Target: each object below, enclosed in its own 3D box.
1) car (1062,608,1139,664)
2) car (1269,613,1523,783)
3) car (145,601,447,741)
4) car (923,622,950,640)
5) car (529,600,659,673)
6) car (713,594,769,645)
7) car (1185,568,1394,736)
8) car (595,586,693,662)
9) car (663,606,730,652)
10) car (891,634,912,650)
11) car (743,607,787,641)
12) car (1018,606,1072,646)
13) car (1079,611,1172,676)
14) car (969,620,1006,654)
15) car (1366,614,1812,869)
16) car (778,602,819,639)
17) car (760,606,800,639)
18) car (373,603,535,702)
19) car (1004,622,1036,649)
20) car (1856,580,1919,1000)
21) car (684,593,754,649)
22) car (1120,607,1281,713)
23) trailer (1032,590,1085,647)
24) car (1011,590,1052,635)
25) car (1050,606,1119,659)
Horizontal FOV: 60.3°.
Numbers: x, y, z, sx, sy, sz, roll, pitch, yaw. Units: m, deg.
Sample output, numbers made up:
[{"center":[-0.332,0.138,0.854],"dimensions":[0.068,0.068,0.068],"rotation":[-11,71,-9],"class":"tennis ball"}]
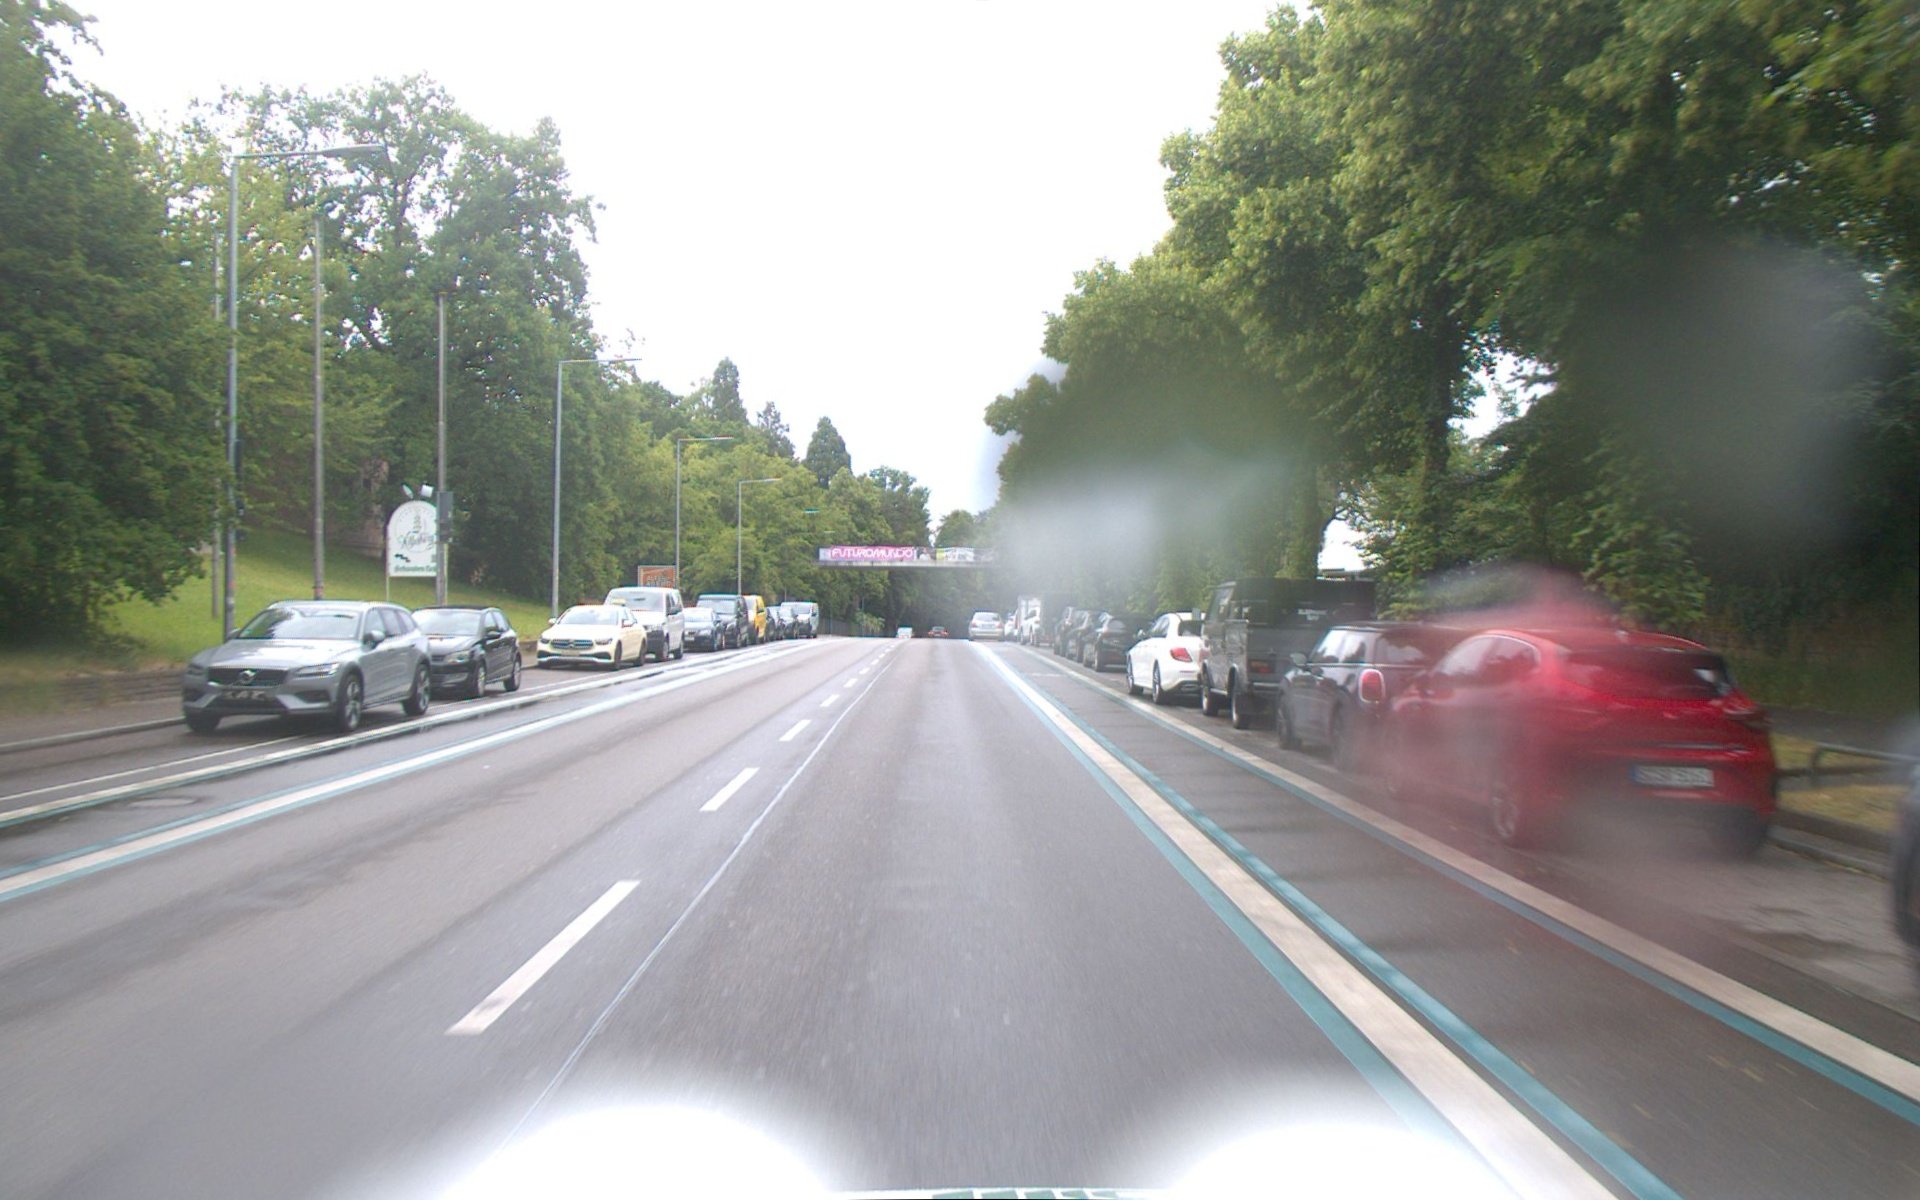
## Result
[{"center":[4.067,1.033,48.423],"dimensions":[1.696,1.489,4.070],"rotation":[2,0,-3],"class":"car"},{"center":[4.374,0.917,17.135],"dimensions":[1.573,1.478,3.746],"rotation":[2,0,-1],"class":"car"},{"center":[-8.060,0.791,20.627],"dimensions":[2.035,1.508,4.670],"rotation":[1,0,-3],"class":"car"},{"center":[-2.065,2.679,144.140],"dimensions":[2.098,1.518,4.494],"rotation":[1,0,-4],"class":"car"},{"center":[-8.675,0.822,39.642],"dimensions":[1.949,1.633,4.984],"rotation":[0,0,0],"class":"car"},{"center":[-8.957,0.777,67.971],"dimensions":[1.845,1.979,4.824],"rotation":[1,0,-2],"class":"car"},{"center":[4.428,0.647,22.958],"dimensions":[1.887,2.057,4.663],"rotation":[1,0,-1],"class":"car"},{"center":[-8.687,0.613,45.794],"dimensions":[1.874,1.965,4.926],"rotation":[1,0,-2],"class":"car"},{"center":[-8.919,0.959,56.247],"dimensions":[1.696,1.414,4.369],"rotation":[1,0,-2],"class":"car"},{"center":[-5.442,3.911,153.598],"dimensions":[1.832,1.499,4.051],"rotation":[1,-2,-4],"class":"car"},{"center":[-9.214,1.124,78.545],"dimensions":[1.848,1.476,3.980],"rotation":[1,0,-4],"class":"car"},{"center":[3.591,1.084,70.205],"dimensions":[1.697,1.611,4.149],"rotation":[0,0,-6],"class":"car"},{"center":[4.142,1.066,41.976],"dimensions":[1.696,1.489,4.275],"rotation":[2,0,-3],"class":"car"},{"center":[1.376,1.834,83.194],"dimensions":[1.696,1.611,4.035],"rotation":[0,0,-1],"class":"car"},{"center":[4.397,0.892,12.288],"dimensions":[1.651,1.478,4.165],"rotation":[2,0,-1],"class":"car"},{"center":[-8.941,1.100,91.911],"dimensions":[1.721,1.965,4.194],"rotation":[1,0,2],"class":"car"},{"center":[-9.174,1.142,84.465],"dimensions":[1.833,1.569,4.051],"rotation":[1,0,-4],"class":"car"},{"center":[-8.298,0.810,27.460],"dimensions":[1.662,1.462,4.051],"rotation":[1,0,-4],"class":"car"},{"center":[3.399,2.033,94.865],"dimensions":[1.695,1.488,4.044],"rotation":[0,0,0],"class":"car"},{"center":[4.595,0.765,4.572],"dimensions":[1.720,1.617,4.498],"rotation":[2,0,-1],"class":"car"},{"center":[-8.937,0.739,61.711],"dimensions":[1.950,1.980,5.140],"rotation":[1,0,-2],"class":"car"},{"center":[3.950,0.942,27.919],"dimensions":[1.753,1.570,4.887],"rotation":[2,0,-3],"class":"car"},{"center":[3.901,0.728,66.100],"dimensions":[1.845,2.204,3.807],"rotation":[0,0,0],"class":"trailer"},{"center":[3.560,0.617,82.860],"dimensions":[1.850,2.164,4.045],"rotation":[1,0,0],"class":"car"},{"center":[4.012,1.037,53.898],"dimensions":[1.696,1.611,4.152],"rotation":[2,0,-3],"class":"car"}]
